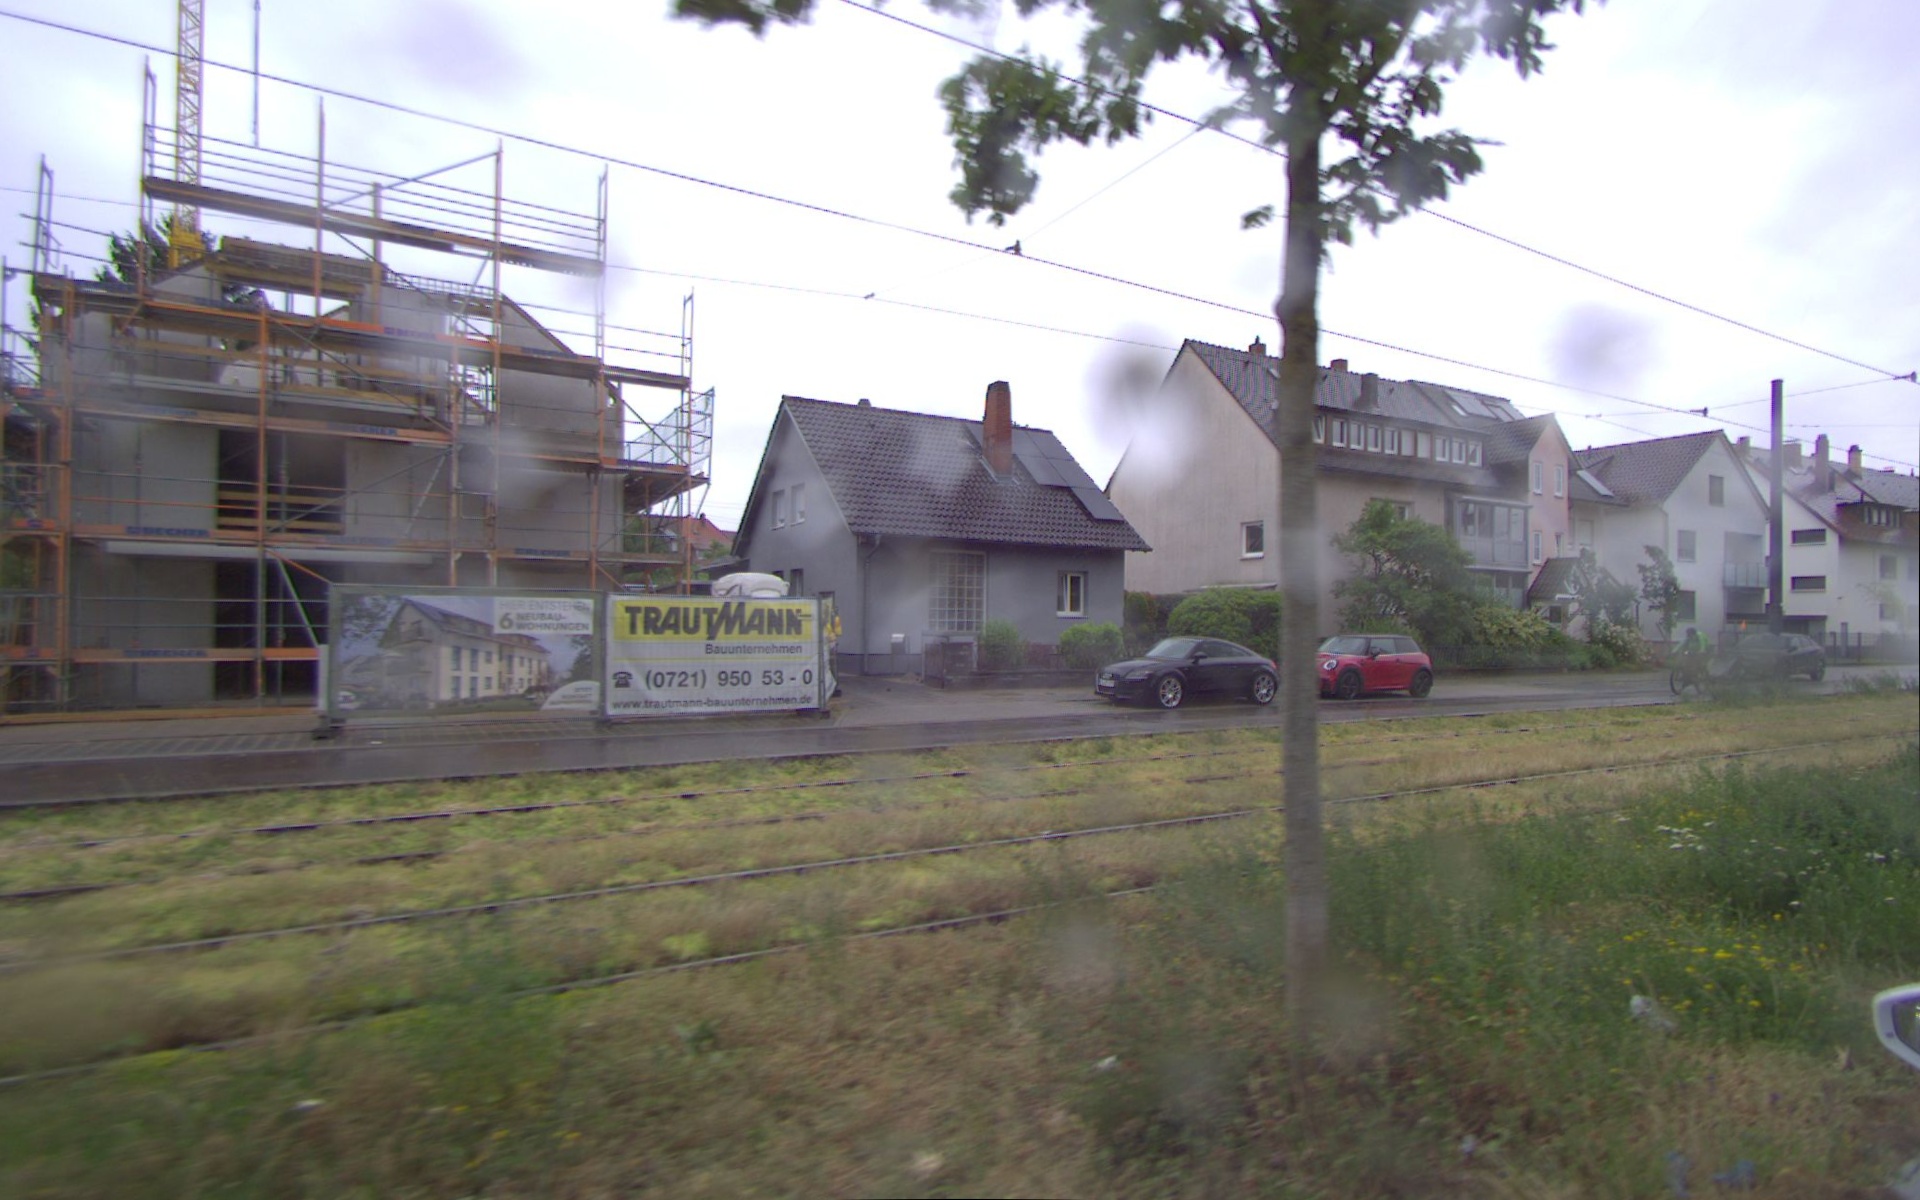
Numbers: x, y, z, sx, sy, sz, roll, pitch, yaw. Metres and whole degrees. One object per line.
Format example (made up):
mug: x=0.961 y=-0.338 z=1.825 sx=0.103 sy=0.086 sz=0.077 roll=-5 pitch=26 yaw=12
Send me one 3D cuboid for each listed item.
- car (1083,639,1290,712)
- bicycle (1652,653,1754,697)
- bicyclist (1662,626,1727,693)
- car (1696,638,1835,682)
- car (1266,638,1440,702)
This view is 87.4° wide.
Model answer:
car: x=4.605 y=1.466 z=20.272 sx=4.023 sy=1.261 sz=1.655 roll=1 pitch=1 yaw=-30
bicycle: x=19.590 y=1.943 z=26.456 sx=3.159 sy=1.041 sz=1.013 roll=1 pitch=-2 yaw=-31
bicyclist: x=19.113 y=1.534 z=26.151 sx=1.079 sy=1.708 sz=1.013 roll=1 pitch=-2 yaw=-30
car: x=26.678 y=1.949 z=33.241 sx=4.628 sy=1.261 sz=1.889 roll=1 pitch=1 yaw=-28
car: x=8.985 y=1.547 z=22.935 sx=3.809 sy=1.261 sz=1.667 roll=1 pitch=1 yaw=-30
